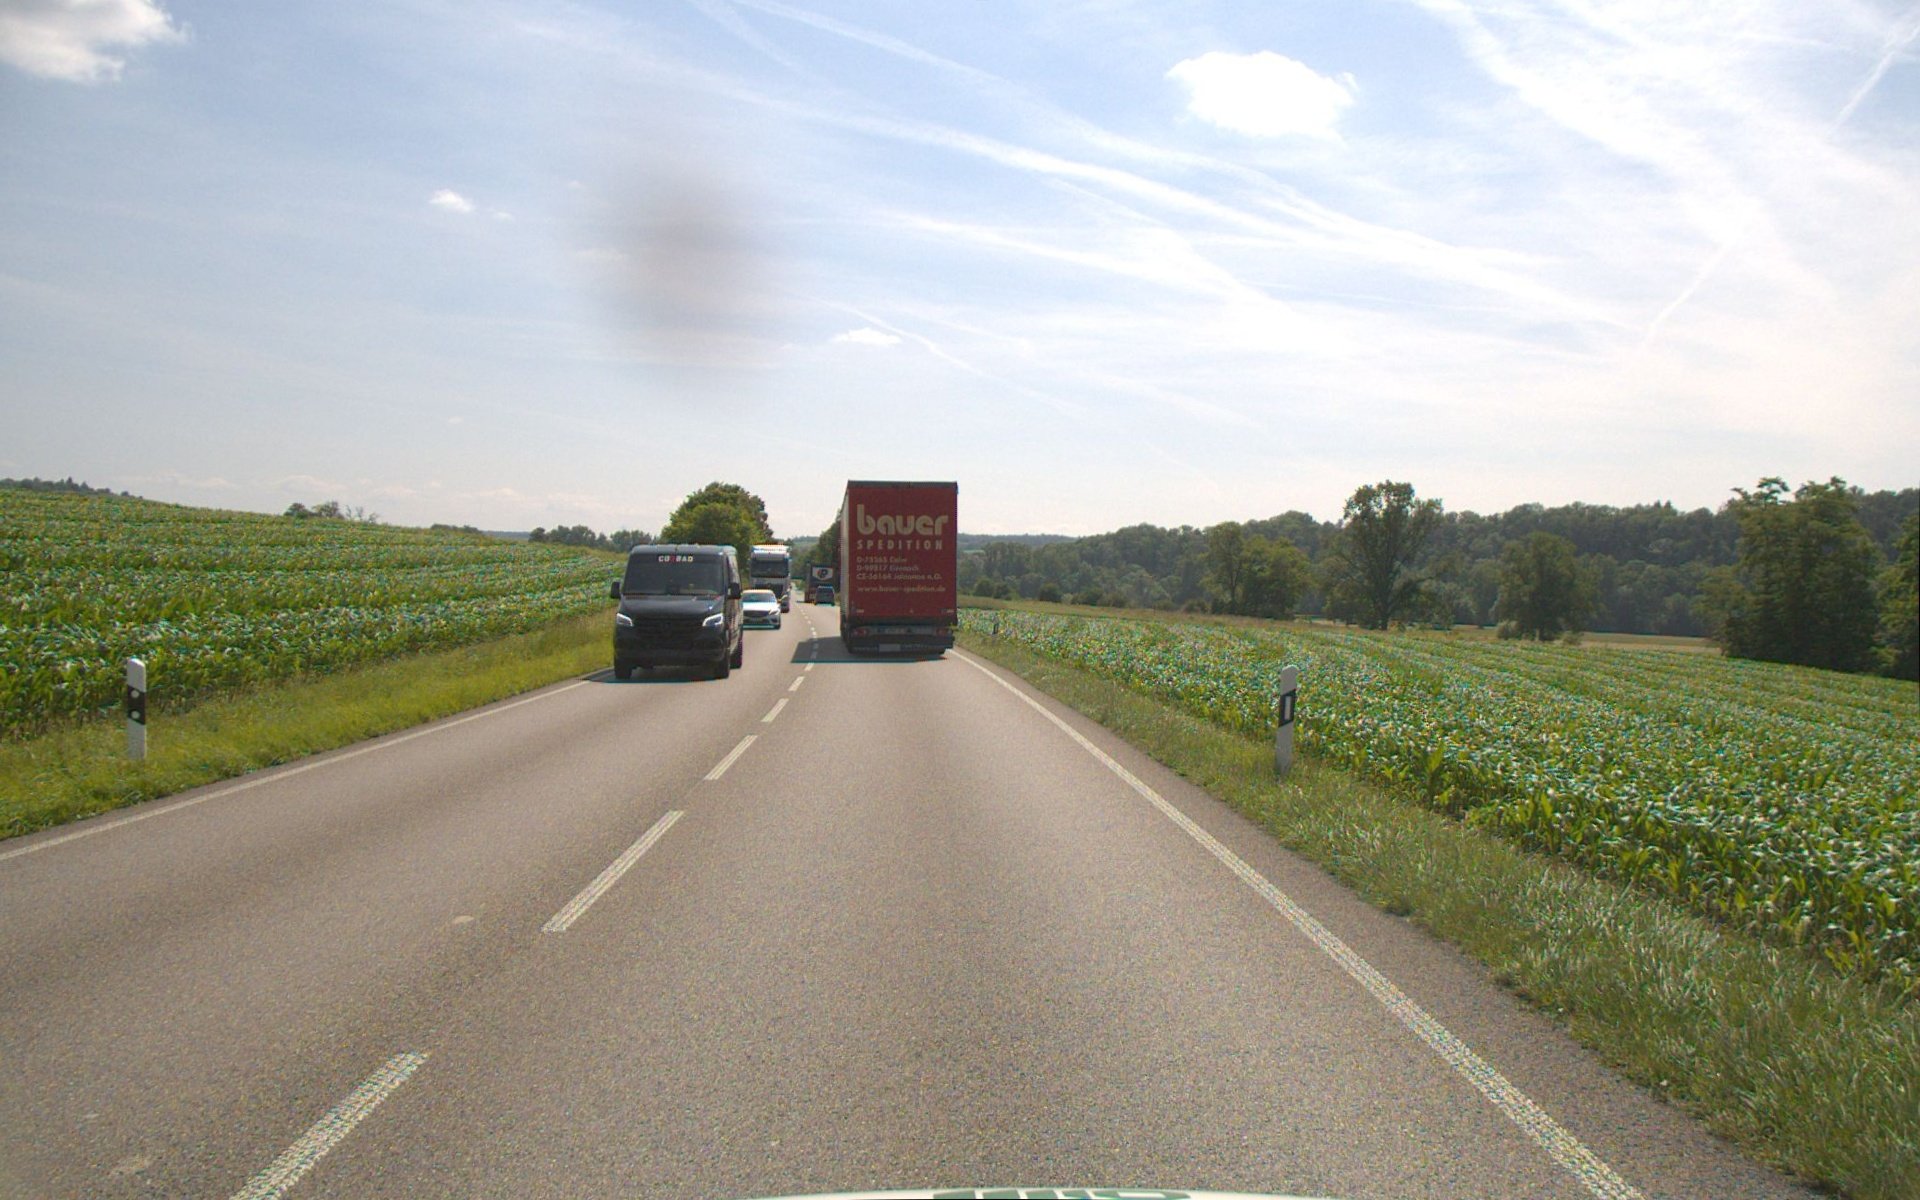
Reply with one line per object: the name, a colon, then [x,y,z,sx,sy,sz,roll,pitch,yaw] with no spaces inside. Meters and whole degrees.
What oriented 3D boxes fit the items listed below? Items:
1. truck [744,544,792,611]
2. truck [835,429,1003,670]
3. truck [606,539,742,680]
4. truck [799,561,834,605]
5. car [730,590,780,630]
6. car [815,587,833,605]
truck: [-12.382,-1.410,107.726,2.772,4.062,16.512,0,0,-6]
truck: [-1.048,-0.878,34.034,3.034,4.337,8.306,0,0,-5]
truck: [-5.166,0.153,30.526,1.970,2.360,5.187,0,0,-4]
truck: [-15.014,-1.686,173.795,3.569,4.367,11.974,0,-1,-4]
car: [-7.794,0.349,63.071,1.694,1.466,4.173,0,0,-4]
car: [-12.003,-0.342,146.229,1.550,1.527,3.873,0,0,-4]
